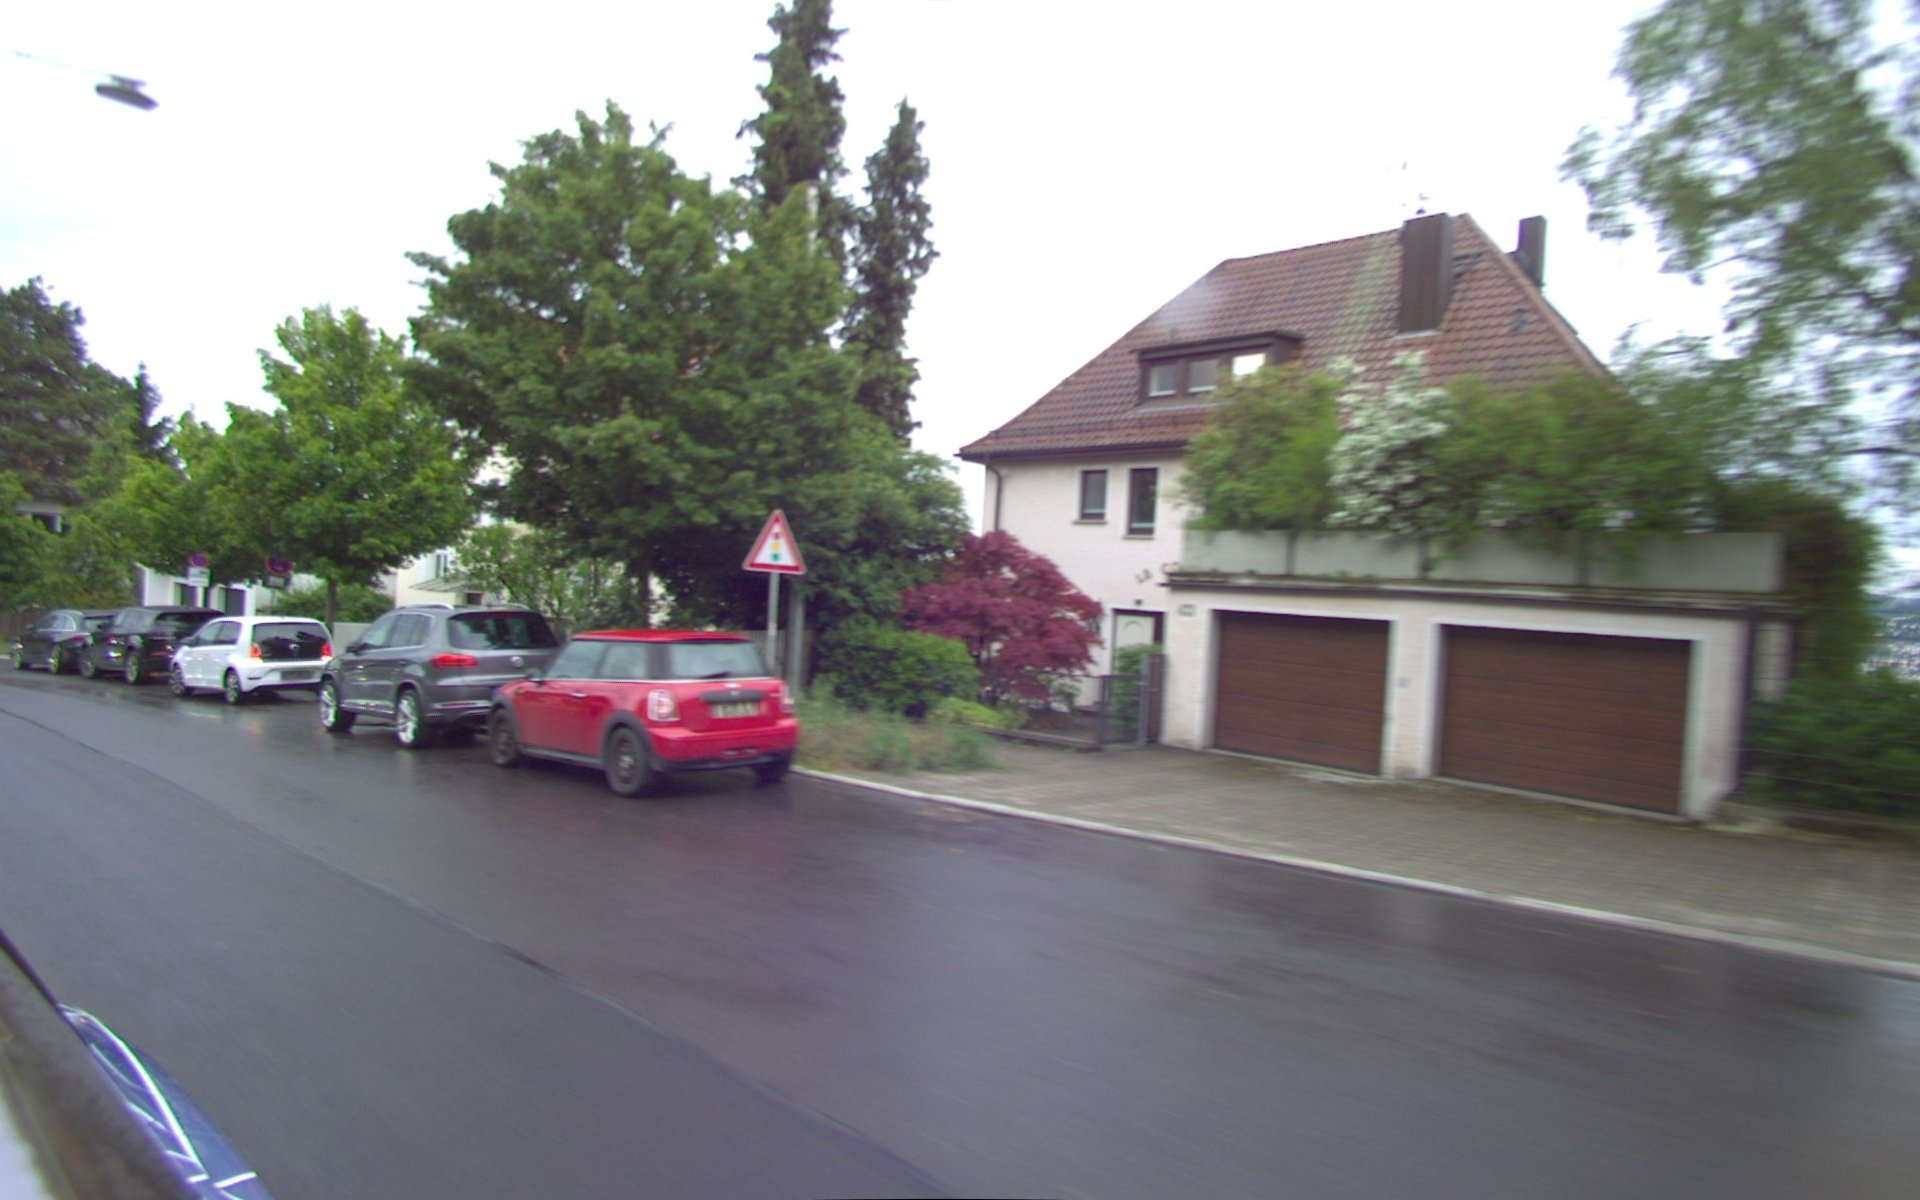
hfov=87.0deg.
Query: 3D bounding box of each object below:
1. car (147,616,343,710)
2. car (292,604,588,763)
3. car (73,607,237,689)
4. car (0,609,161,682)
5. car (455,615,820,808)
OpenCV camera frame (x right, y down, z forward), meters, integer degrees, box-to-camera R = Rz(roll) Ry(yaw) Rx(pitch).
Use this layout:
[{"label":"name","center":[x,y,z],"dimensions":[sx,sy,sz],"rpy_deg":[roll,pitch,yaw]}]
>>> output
[{"label":"car","center":[-12.989,1.051,18.316],"dimensions":[3.992,1.477,1.718],"rpy_deg":[-1,0,36]},{"label":"car","center":[-6.728,0.917,12.884],"dimensions":[4.423,1.681,1.782],"rpy_deg":[0,-2,41]},{"label":"car","center":[-17.417,0.948,21.837],"dimensions":[4.202,1.557,1.718],"rpy_deg":[0,1,36]},{"label":"car","center":[-21.616,1.033,24.732],"dimensions":[4.891,1.557,1.852],"rpy_deg":[0,1,34]},{"label":"car","center":[-3.254,0.908,9.836],"dimensions":[3.865,1.483,1.664],"rpy_deg":[0,-2,42]}]
